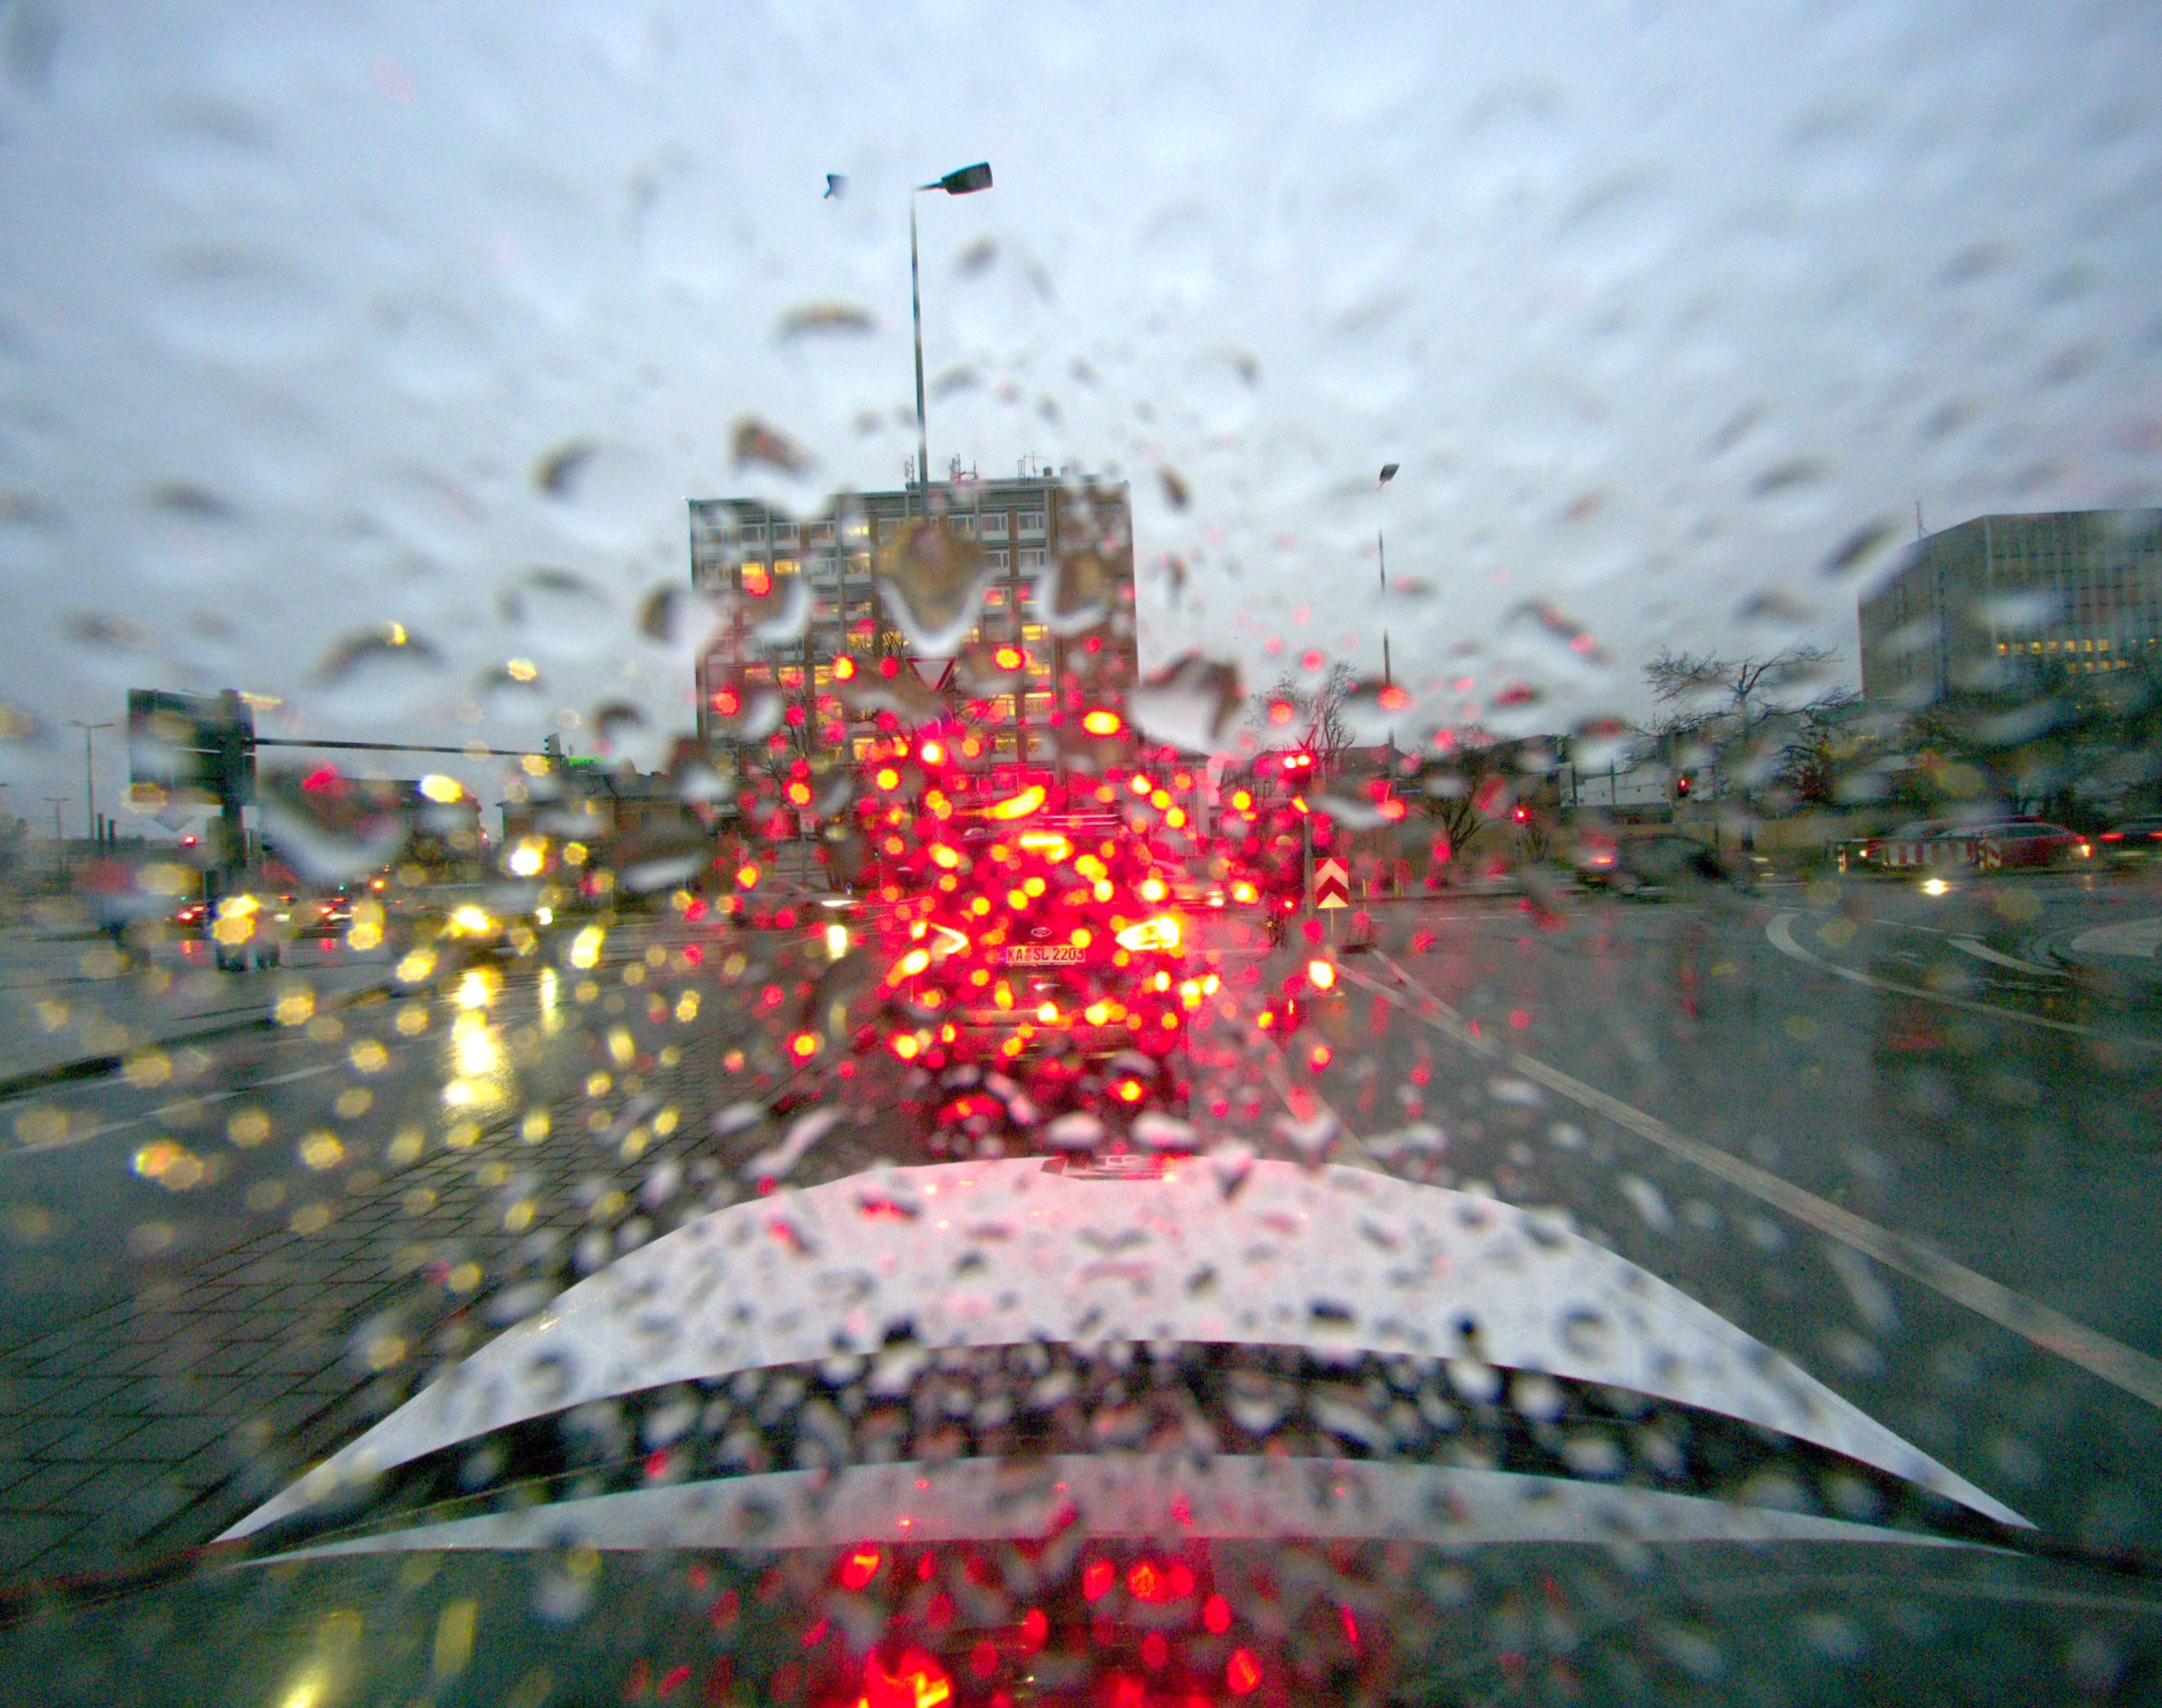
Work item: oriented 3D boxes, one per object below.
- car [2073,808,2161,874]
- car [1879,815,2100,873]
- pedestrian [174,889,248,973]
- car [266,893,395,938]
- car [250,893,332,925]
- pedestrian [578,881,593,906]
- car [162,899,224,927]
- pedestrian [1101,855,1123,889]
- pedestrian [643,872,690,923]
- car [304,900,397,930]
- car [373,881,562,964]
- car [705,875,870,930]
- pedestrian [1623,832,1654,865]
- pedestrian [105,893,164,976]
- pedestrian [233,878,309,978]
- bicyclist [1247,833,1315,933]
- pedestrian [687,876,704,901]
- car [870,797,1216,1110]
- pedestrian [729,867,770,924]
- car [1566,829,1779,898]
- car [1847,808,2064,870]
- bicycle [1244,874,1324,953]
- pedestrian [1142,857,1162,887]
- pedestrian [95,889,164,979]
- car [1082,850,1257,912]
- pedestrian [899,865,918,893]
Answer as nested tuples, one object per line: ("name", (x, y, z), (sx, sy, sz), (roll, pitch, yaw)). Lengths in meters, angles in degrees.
("car", (26.678, -0.411, 18.828), (4.545, 1.477, 1.818), (-3, -1, 13))
("car", (27.604, -0.271, 24.886), (4.390, 1.477, 1.814), (-3, -1, 6))
("pedestrian", (-19.440, 1.706, 18.207), (0.653, 1.755, 0.856), (-3, 0, 18))
("car", (-28.694, 2.357, 31.124), (4.615, 1.477, 1.821), (-3, -1, 23))
("car", (-51.154, 3.533, 52.774), (1.649, 1.826, 3.609), (-1, -1, 39))
("pedestrian", (-35.458, 2.829, 58.302), (0.633, 1.688, 0.641), (-3, 0, 32))
("car", (-55.771, 3.662, 51.134), (3.949, 1.568, 1.838), (-1, -1, 30))
("pedestrian", (1.724, 1.004, 45.260), (0.990, 1.799, 0.922), (-3, 0, 10))
("pedestrian", (-16.172, 1.687, 31.770), (0.991, 1.842, 1.146), (-3, 2, 36))
("car", (-43.816, 3.623, 48.920), (1.582, 1.482, 3.840), (-1, -1, 31))
("car", (-13.755, 1.521, 18.253), (3.949, 1.577, 1.786), (-3, 0, 28))
("car", (-9.320, 1.545, 25.948), (4.623, 1.477, 1.818), (-3, -1, 14))
("pedestrian", (27.618, -0.282, 40.386), (0.956, 1.603, 0.796), (-3, 0, 9))
("pedestrian", (-21.045, 1.786, 18.108), (0.734, 1.770, 0.551), (-3, 0, 18))
("pedestrian", (-17.385, 1.552, 17.508), (0.996, 2.021, 0.792), (-3, 0, -39))
("bicyclist", (3.045, 0.425, 12.490), (0.780, 1.453, 1.134), (0, -1, 2))
("pedestrian", (-25.721, 2.316, 54.313), (0.754, 1.628, 0.560), (-3, 0, 16))
("car", (-0.160, 0.587, 6.689), (1.986, 1.789, 4.001), (0, -1, 2))
("pedestrian", (-12.115, 1.519, 29.766), (0.922, 1.978, 0.962), (-3, 0, 8))
("car", (14.838, 0.257, 20.648), (3.932, 1.477, 1.815), (-3, -1, 8))
("car", (31.541, -0.496, 29.523), (5.295, 1.880, 2.051), (-3, -1, 4))
("bicycle", (3.045, 0.857, 12.403), (0.780, 1.075, 1.958), (0, -1, 2))
("pedestrian", (3.841, 0.952, 44.054), (0.920, 1.533, 1.045), (-3, 0, 6))
("pedestrian", (-20.518, 1.720, 17.568), (0.727, 1.838, 0.680), (-3, 0, 18))
("car", (2.533, 0.759, 22.950), (4.624, 1.477, 1.817), (-3, -1, 12))
("pedestrian", (-10.197, 1.470, 48.184), (0.753, 1.628, 0.725), (-3, 0, 22))
